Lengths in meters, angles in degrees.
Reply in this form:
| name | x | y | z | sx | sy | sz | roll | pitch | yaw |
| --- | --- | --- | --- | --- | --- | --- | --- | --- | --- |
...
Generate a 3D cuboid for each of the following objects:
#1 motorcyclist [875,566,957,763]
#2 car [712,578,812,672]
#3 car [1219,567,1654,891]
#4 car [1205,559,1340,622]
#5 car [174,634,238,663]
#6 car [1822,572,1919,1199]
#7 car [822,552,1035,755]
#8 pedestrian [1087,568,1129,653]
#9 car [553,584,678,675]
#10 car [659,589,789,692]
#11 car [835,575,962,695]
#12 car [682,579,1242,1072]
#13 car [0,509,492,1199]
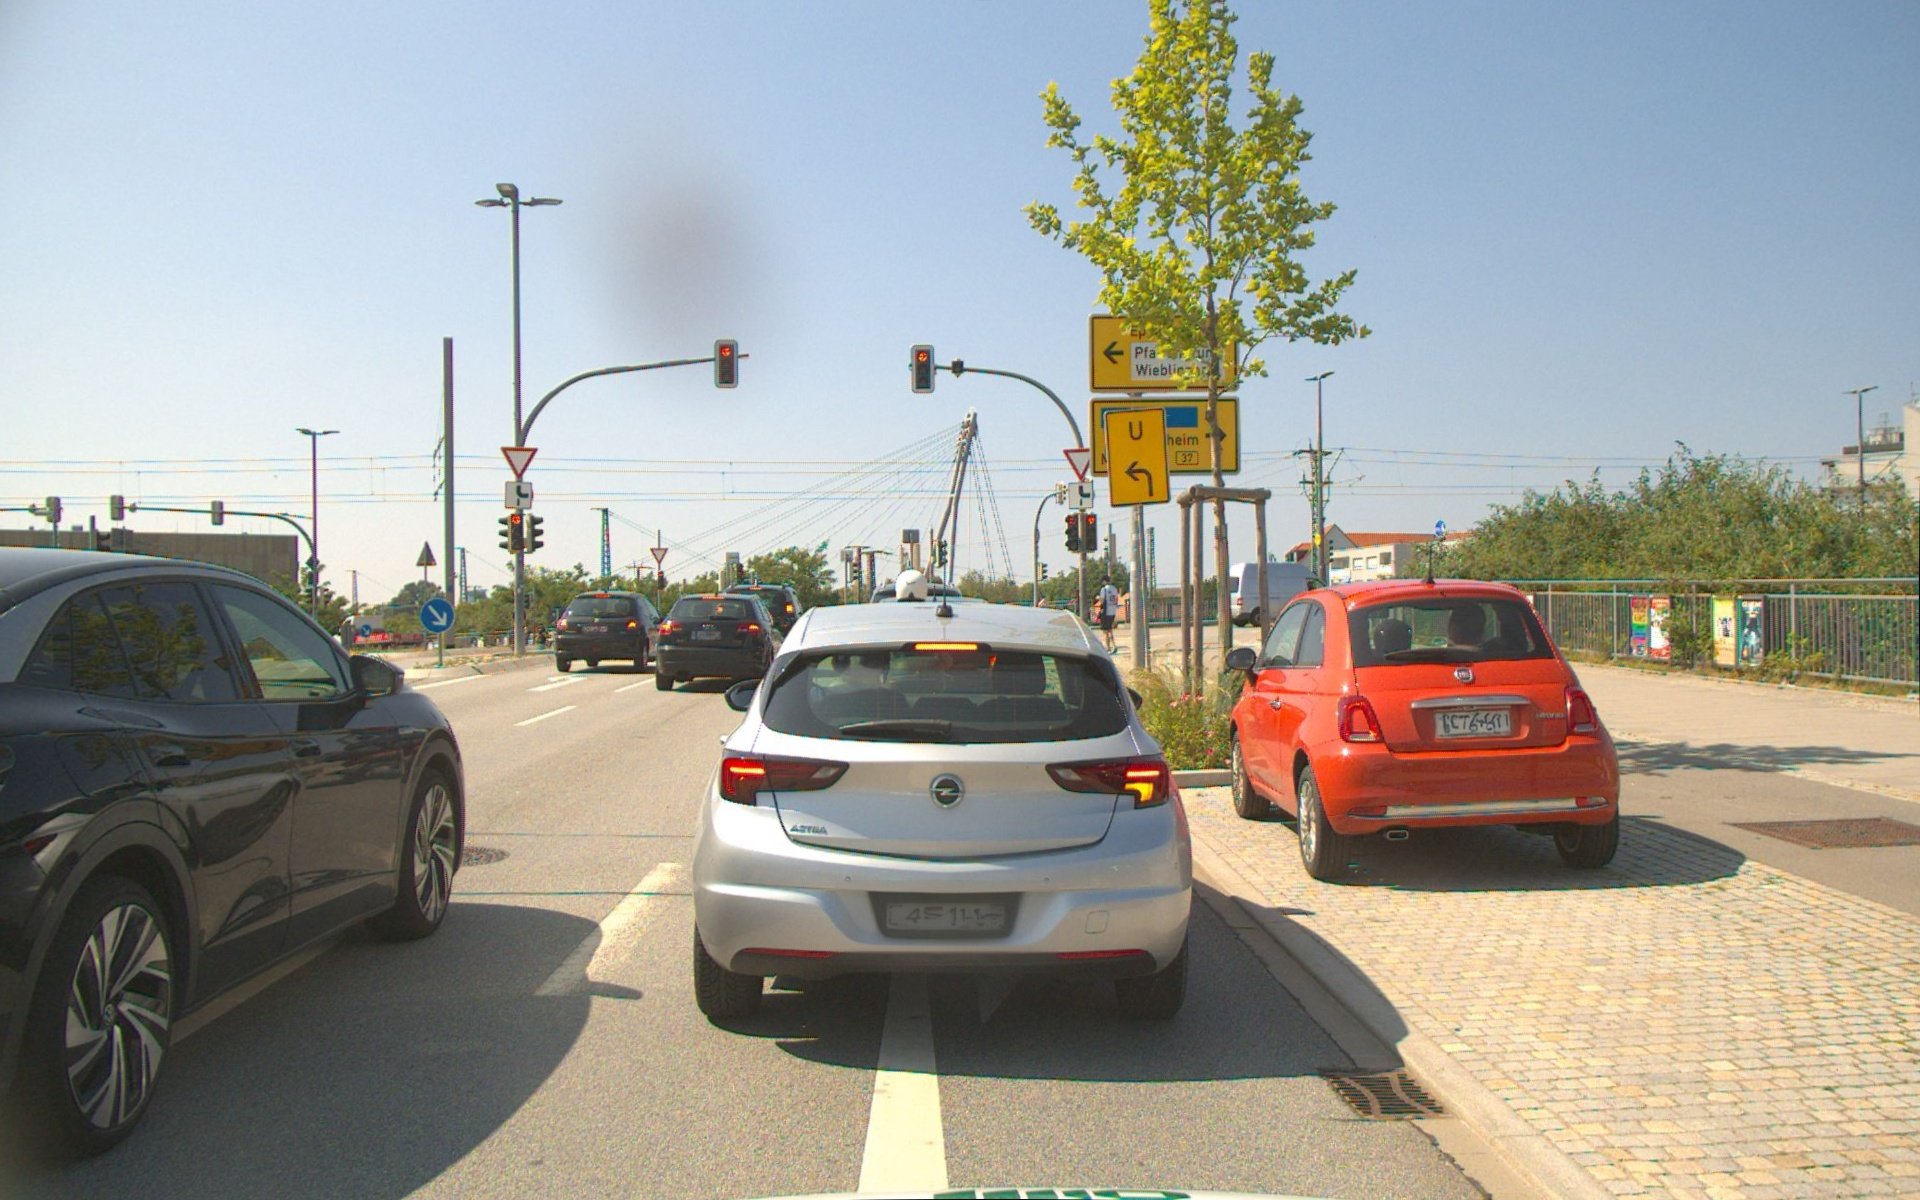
| name | x | y | z | sx | sy | sz | roll | pitch | yaw |
| --- | --- | --- | --- | --- | --- | --- | --- | --- | --- |
| motorcyclist | -0.319 | 0.468 | 12.293 | 0.570 | 1.413 | 0.706 | 1 | -1 | -1 |
| car | -3.717 | 0.457 | 31.554 | 1.616 | 1.643 | 3.818 | 1 | 0 | -3 |
| car | 2.598 | 0.617 | 9.777 | 1.577 | 1.522 | 3.352 | -2 | 0 | 0 |
| car | 12.274 | -0.364 | 65.019 | 4.914 | 2.418 | 1.778 | 0 | -1 | -14 |
| car | -36.252 | 2.326 | 79.512 | 1.806 | 1.354 | 3.941 | 1 | -2 | -40 |
| car | 2.919 | 0.624 | 1.900 | 1.627 | 1.451 | 3.998 | -3 | 0 | -2 |
| car | -0.322 | 0.469 | 17.561 | 1.953 | 1.852 | 4.401 | 1 | 1 | -1 |
| pedestrian | 3.308 | 0.232 | 36.930 | 0.635 | 1.868 | 0.796 | -1 | -1 | 33 |
| car | -6.378 | 0.522 | 30.951 | 1.565 | 1.574 | 3.761 | 1 | 0 | -1 |
| car | -3.581 | 0.587 | 25.655 | 1.543 | 1.459 | 3.785 | 1 | 0 | -2 |
| car | -0.849 | 0.440 | 24.343 | 1.689 | 1.591 | 4.000 | 1 | 1 | -1 |
| car | -0.095 | 0.708 | 7.097 | 1.708 | 1.503 | 3.997 | 1 | 0 | -3 |
| car | -3.048 | 0.625 | 5.519 | 1.765 | 1.670 | 4.365 | 1 | 0 | -1 |
